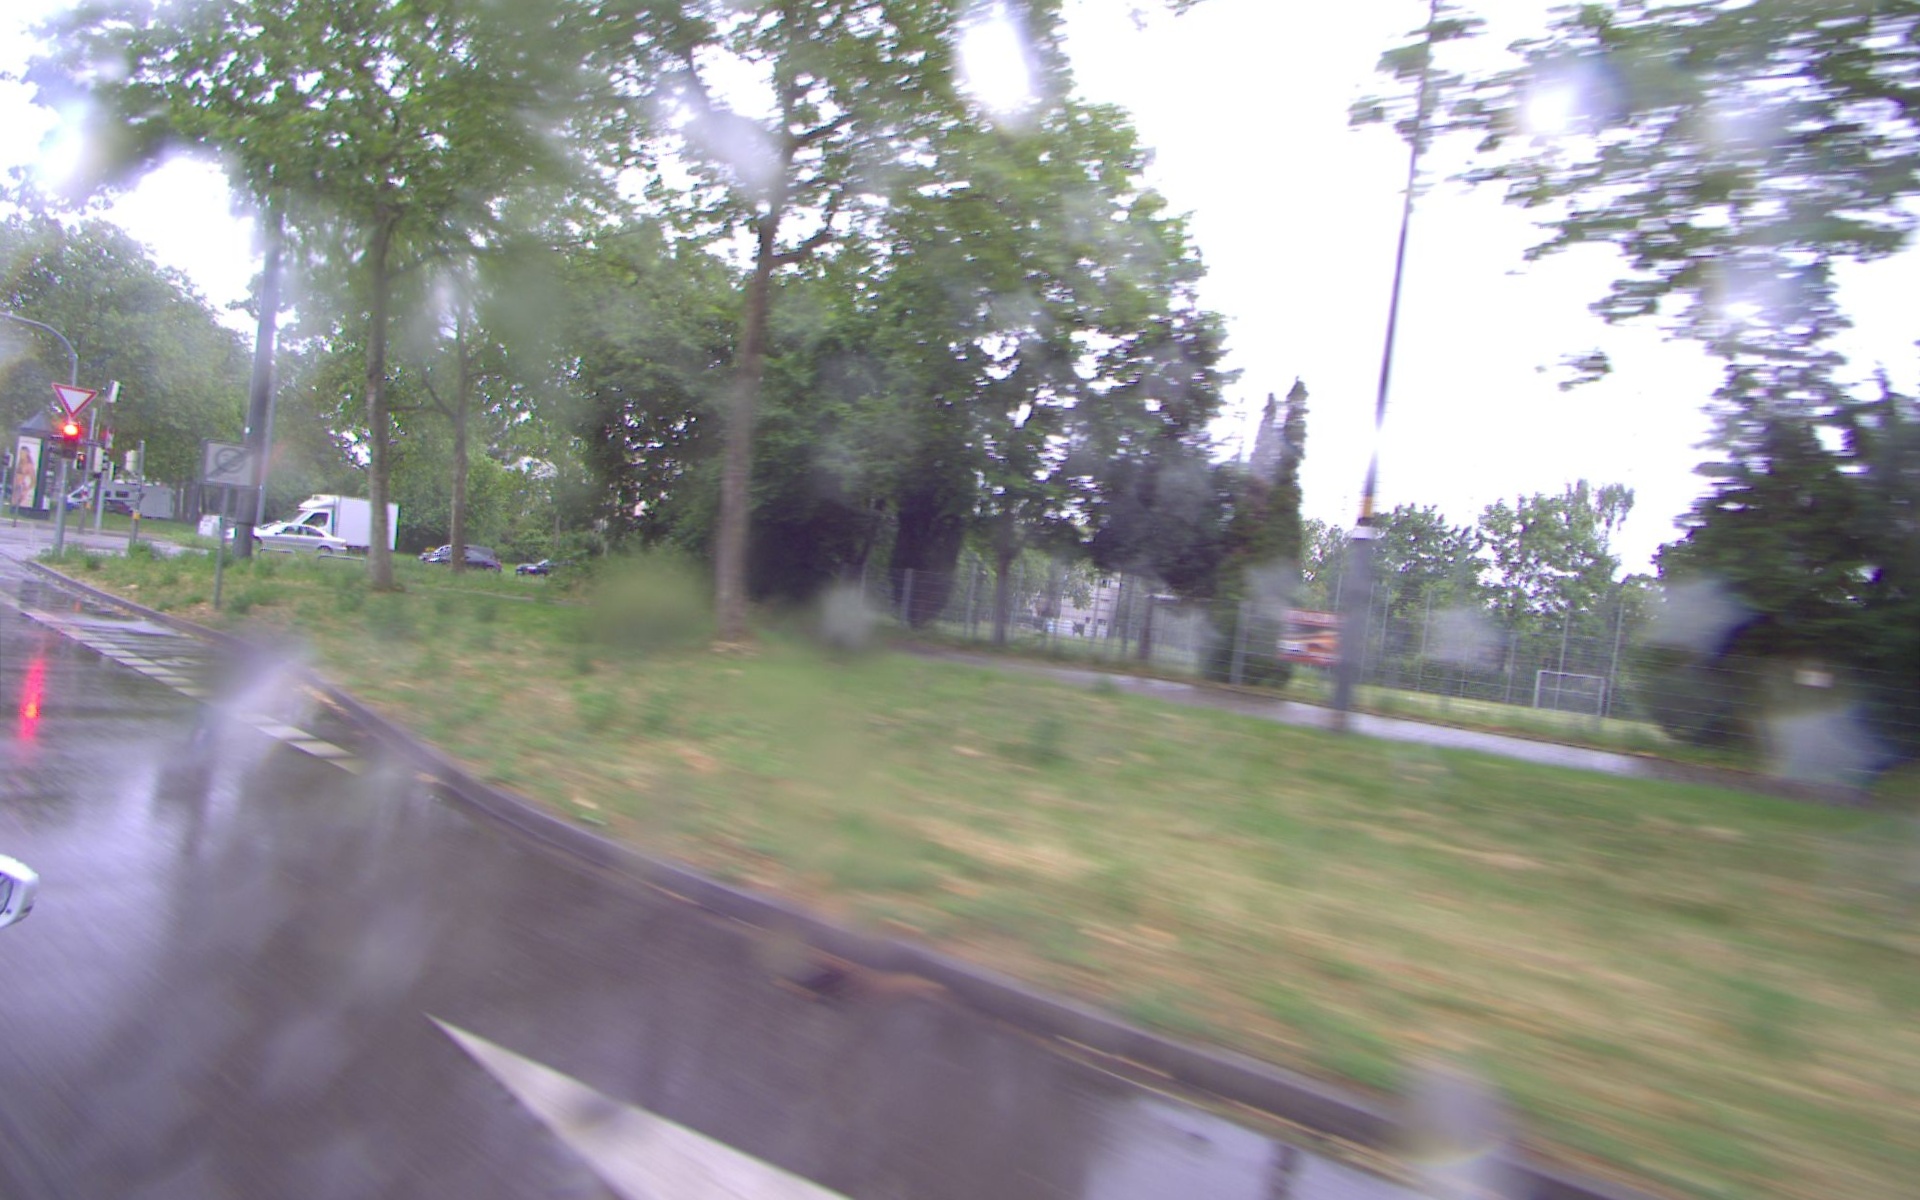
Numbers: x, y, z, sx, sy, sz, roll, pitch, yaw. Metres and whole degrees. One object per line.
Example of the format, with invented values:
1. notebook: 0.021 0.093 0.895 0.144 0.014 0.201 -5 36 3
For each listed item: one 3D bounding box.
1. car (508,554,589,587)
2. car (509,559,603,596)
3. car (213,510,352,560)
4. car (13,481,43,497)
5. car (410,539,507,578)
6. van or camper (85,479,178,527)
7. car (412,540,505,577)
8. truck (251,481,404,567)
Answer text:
1. car: -24.690 -1.753 60.464 1.738 1.439 4.123 7 -1 36
2. car: -22.562 -1.247 56.374 1.737 1.439 4.666 7 -1 34
3. car: -28.529 -2.698 42.500 1.618 1.406 4.517 7 -1 34
4. car: -158.525 -18.870 171.105 3.424 2.038 1.790 7 0 -36
5. car: -25.655 -2.107 51.624 1.618 1.406 4.114 7 -1 34
6. van or camper: -65.195 -7.583 79.302 5.193 2.728 2.222 10 -1 -35
7. car: -27.843 -2.300 55.992 1.738 1.439 4.202 7 -1 36
8. truck: -29.243 -3.466 46.750 1.949 3.095 5.474 7 -1 34
